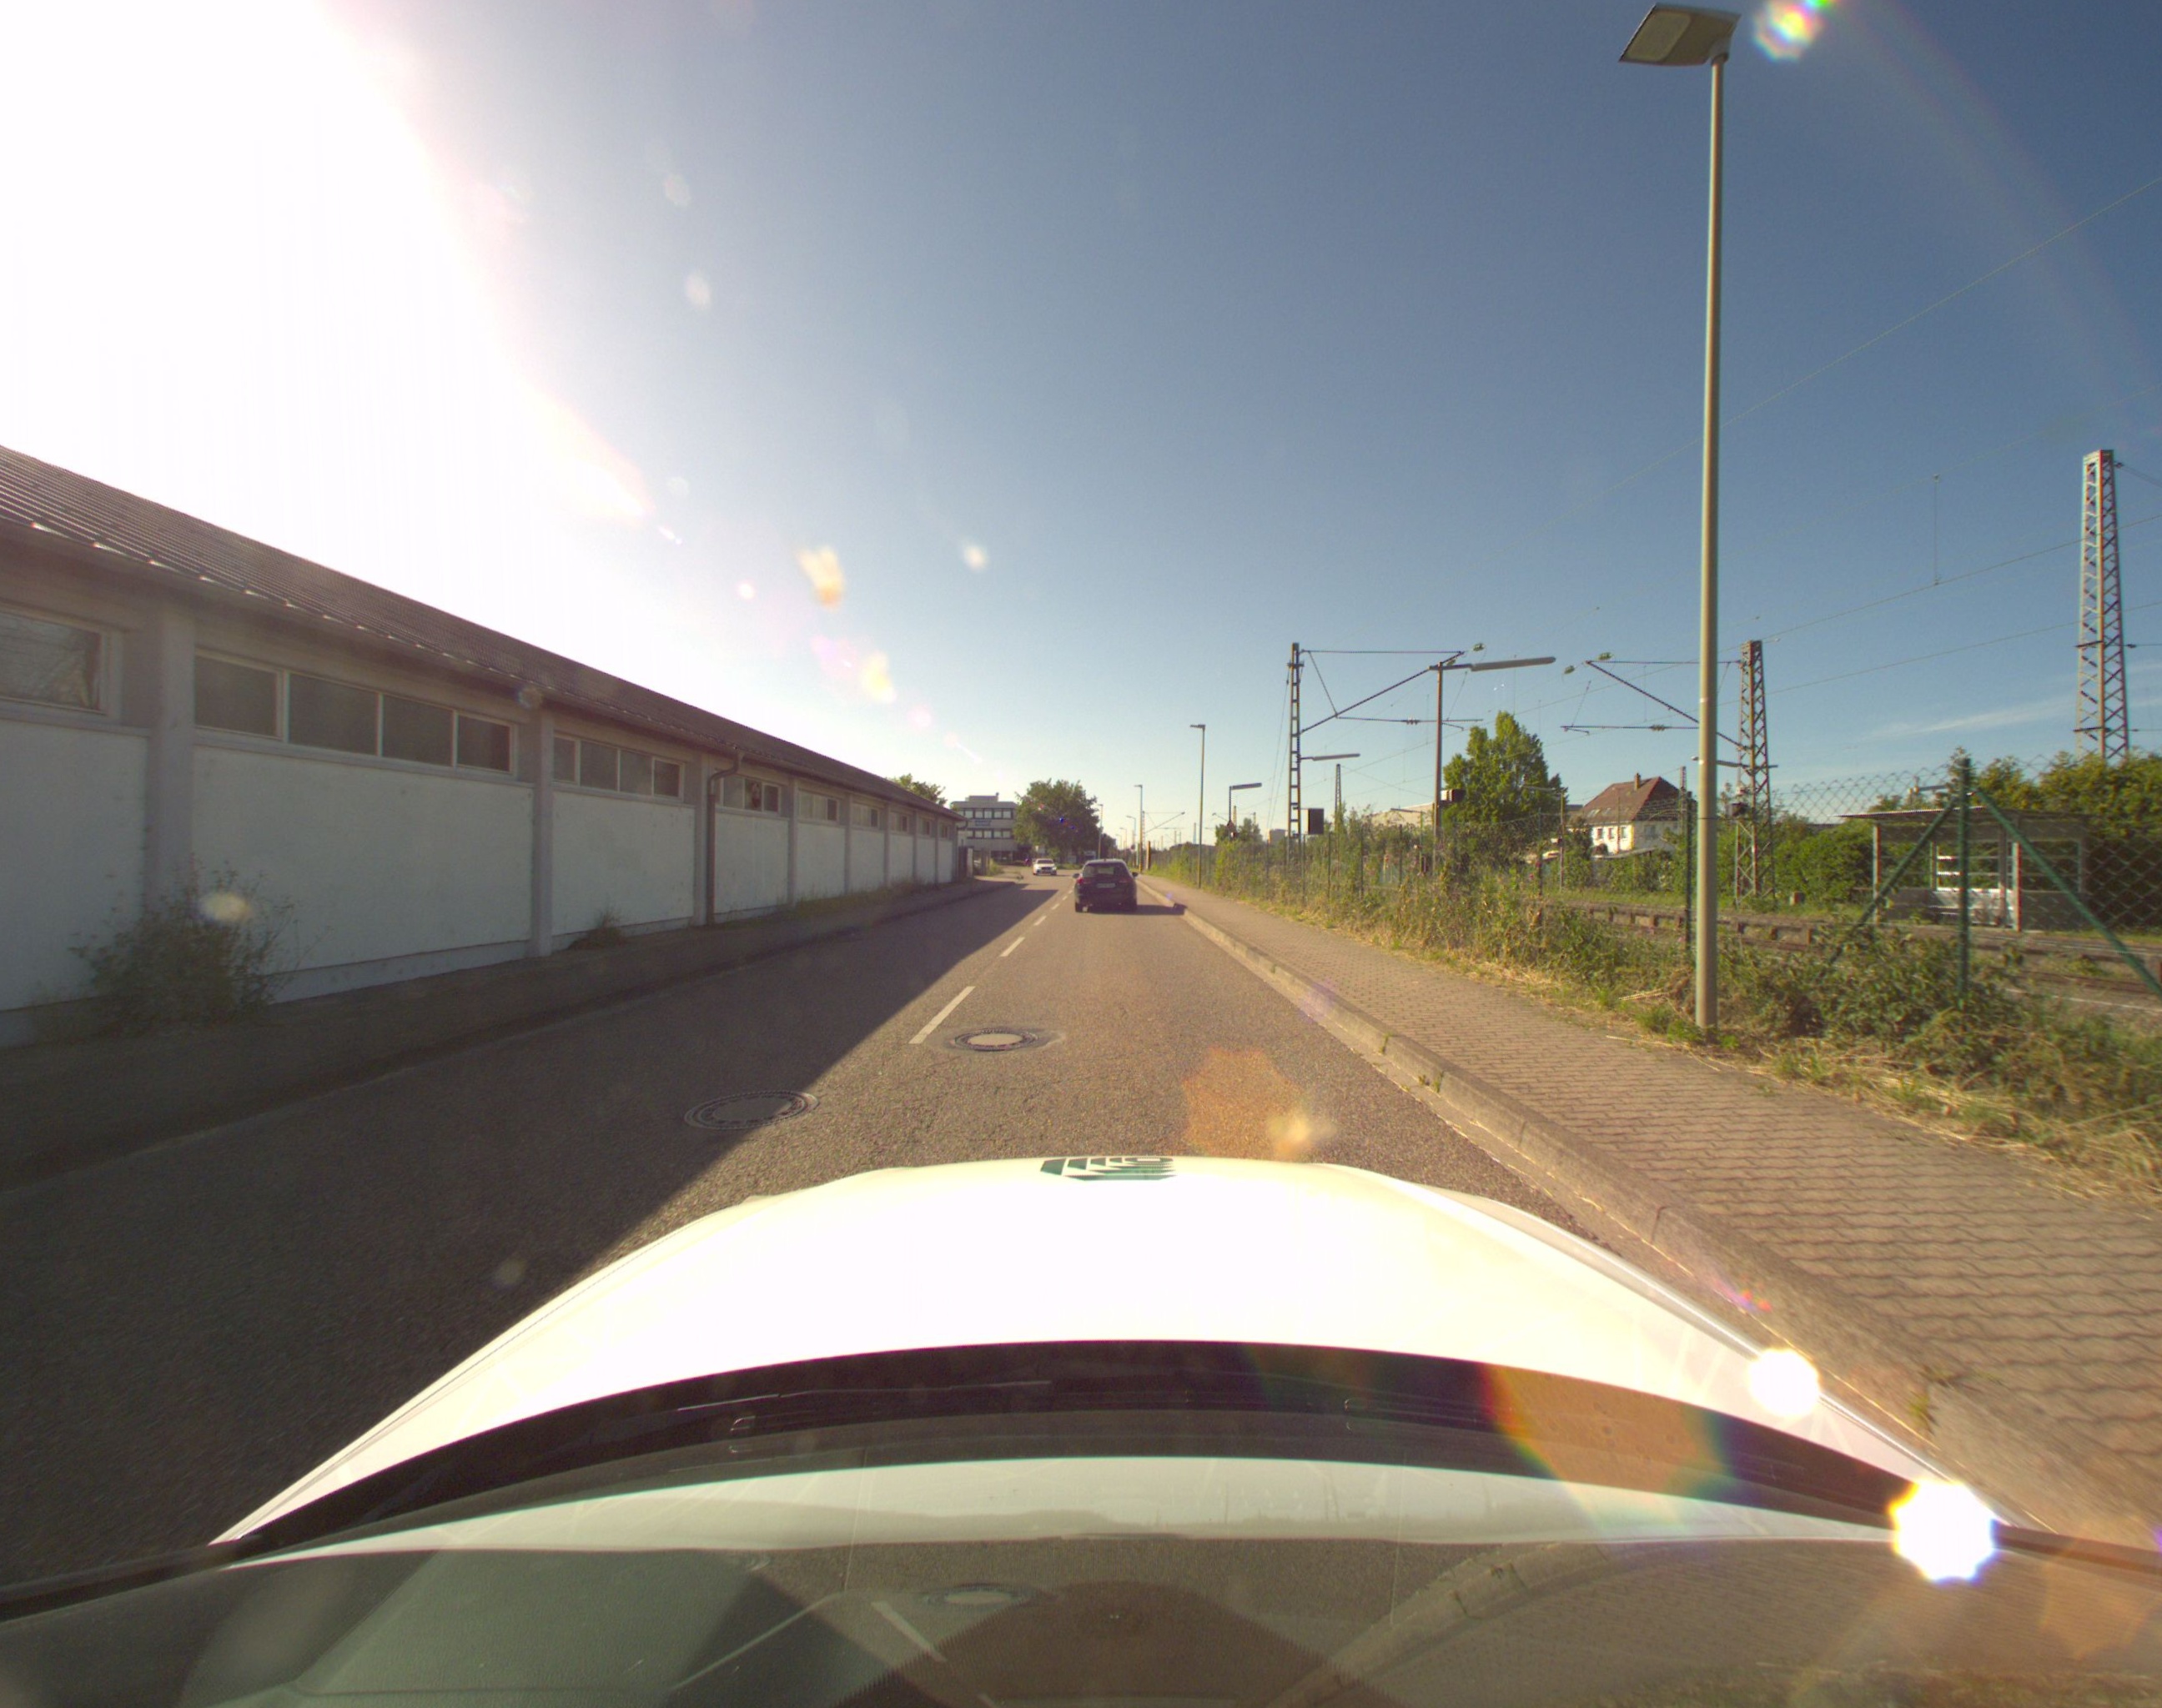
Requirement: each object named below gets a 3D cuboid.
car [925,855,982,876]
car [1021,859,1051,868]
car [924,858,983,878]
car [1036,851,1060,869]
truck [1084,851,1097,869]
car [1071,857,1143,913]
[{"bbox_3d":[-10.189,0.945,65.247,4.388,1.649,1.835,0,-1,-9],"label":"car"},{"bbox_3d":[-7.674,1.680,138.928,4.886,1.484,2.003,0,0,6],"label":"car"},{"bbox_3d":[-9.807,1.080,62.836,4.388,1.507,1.835,0,-1,-9],"label":"car"},{"bbox_3d":[-2.905,0.557,71.842,1.802,1.478,4.688,-1,0,1],"label":"car"},{"bbox_3d":[2.094,1.334,183.055,2.605,3.885,13.528,1,-1,0],"label":"truck"},{"bbox_3d":[0.765,0.877,24.361,1.935,1.489,4.566,-1,-1,1],"label":"car"}]
